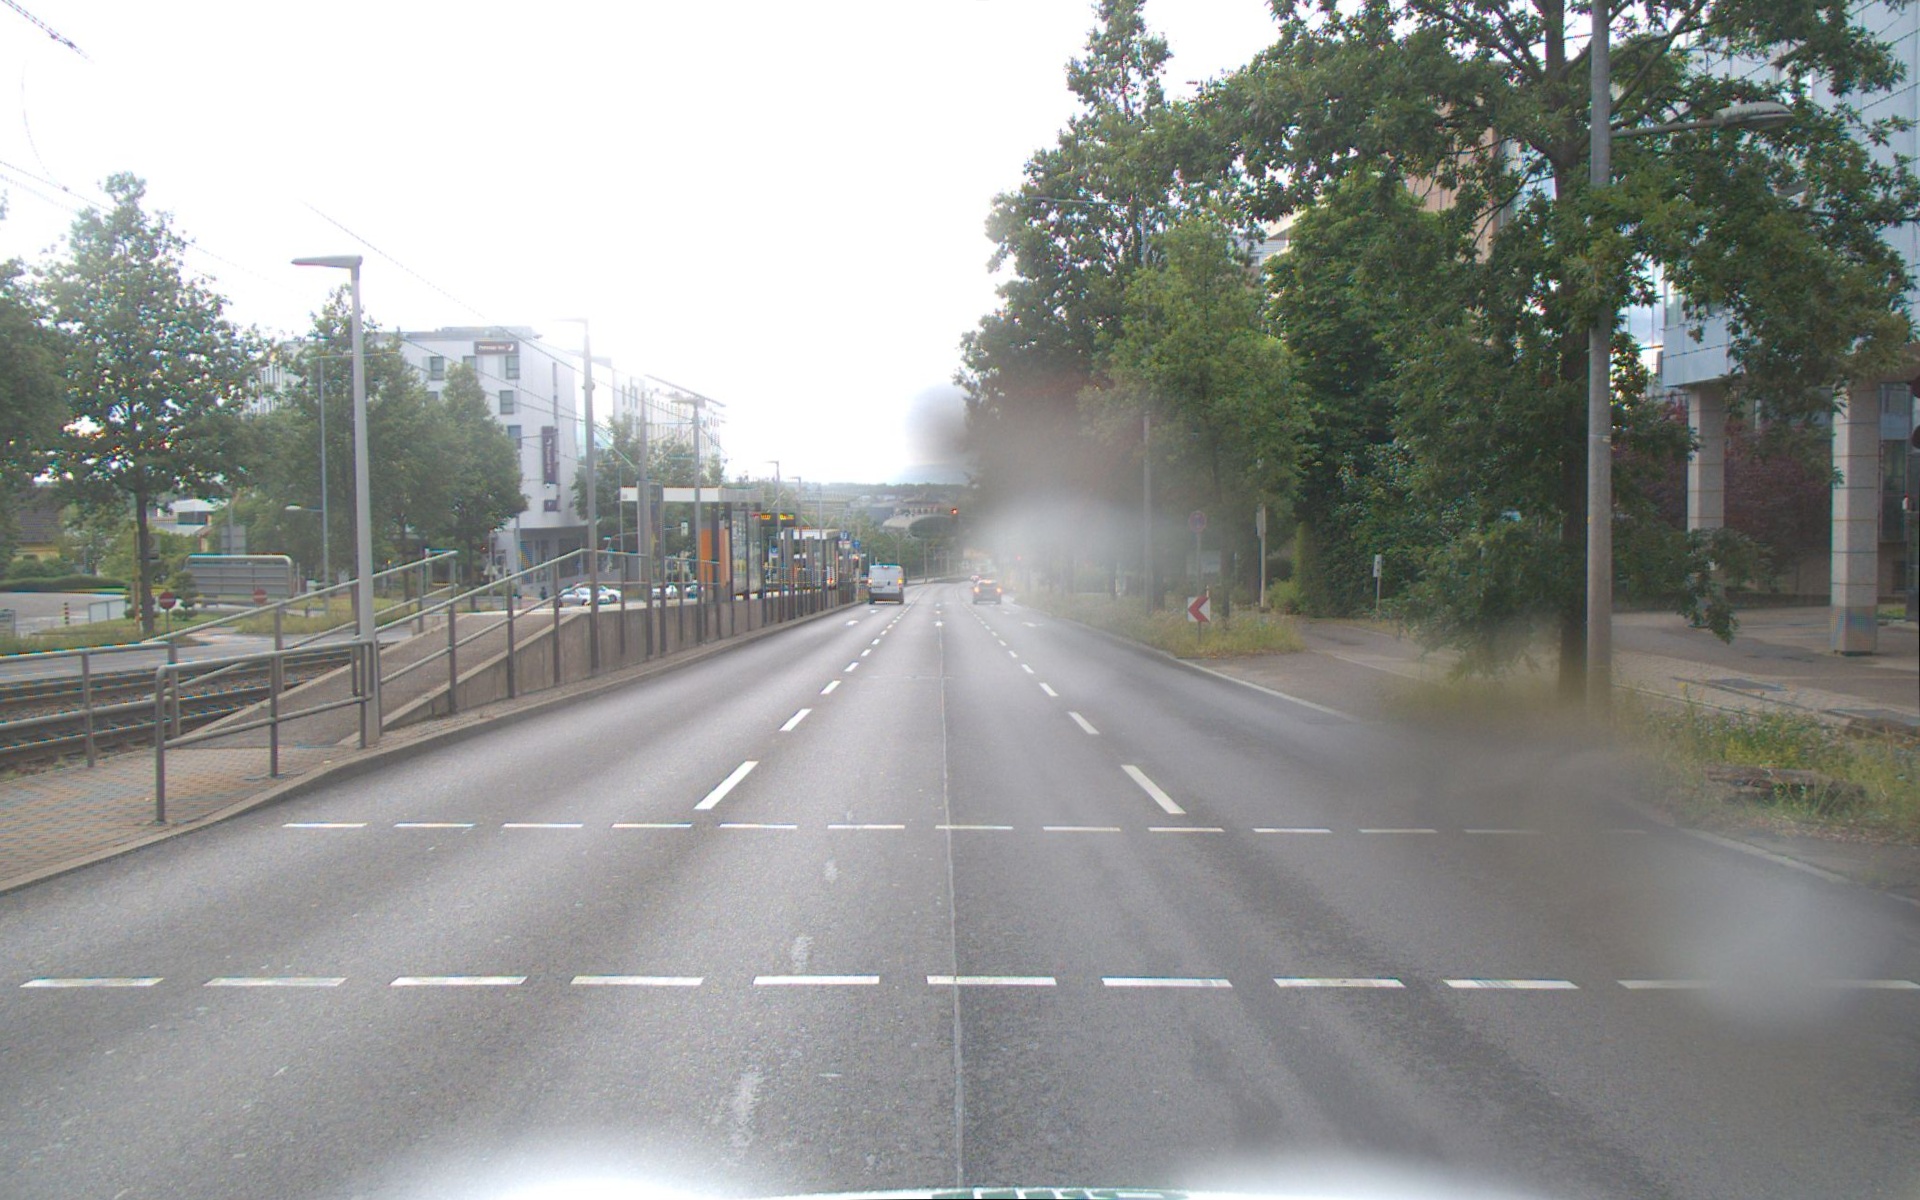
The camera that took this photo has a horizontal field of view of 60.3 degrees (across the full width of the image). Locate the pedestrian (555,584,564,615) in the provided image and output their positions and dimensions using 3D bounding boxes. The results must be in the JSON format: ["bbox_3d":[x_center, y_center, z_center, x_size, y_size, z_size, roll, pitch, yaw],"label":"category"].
[{"bbox_3d":[-25.428,-0.034,104.940,0.465,1.954,0.490,0,0,-1],"label":"pedestrian"}]

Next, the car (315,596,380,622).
[{"bbox_3d":[-35.194,0.513,95.074,3.297,1.411,1.434,0,1,16],"label":"car"}]

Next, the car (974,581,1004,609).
[{"bbox_3d":[1.795,-0.348,102.808,1.738,1.720,3.845,0,1,-1],"label":"car"}]

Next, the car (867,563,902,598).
[{"bbox_3d":[-4.505,-1.169,99.270,2.051,2.089,4.605,0,1,-2],"label":"car"}]

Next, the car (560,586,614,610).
[{"bbox_3d":[-25.606,-0.139,113.486,3.807,1.461,1.647,-2,1,40],"label":"car"}]

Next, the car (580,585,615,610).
[{"bbox_3d":[-22.655,-0.174,103.251,1.626,1.461,3.858,-3,1,-19],"label":"car"}]

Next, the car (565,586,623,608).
[{"bbox_3d":[-27.126,-0.238,122.556,4.022,1.461,1.649,-3,1,-16],"label":"car"}]
